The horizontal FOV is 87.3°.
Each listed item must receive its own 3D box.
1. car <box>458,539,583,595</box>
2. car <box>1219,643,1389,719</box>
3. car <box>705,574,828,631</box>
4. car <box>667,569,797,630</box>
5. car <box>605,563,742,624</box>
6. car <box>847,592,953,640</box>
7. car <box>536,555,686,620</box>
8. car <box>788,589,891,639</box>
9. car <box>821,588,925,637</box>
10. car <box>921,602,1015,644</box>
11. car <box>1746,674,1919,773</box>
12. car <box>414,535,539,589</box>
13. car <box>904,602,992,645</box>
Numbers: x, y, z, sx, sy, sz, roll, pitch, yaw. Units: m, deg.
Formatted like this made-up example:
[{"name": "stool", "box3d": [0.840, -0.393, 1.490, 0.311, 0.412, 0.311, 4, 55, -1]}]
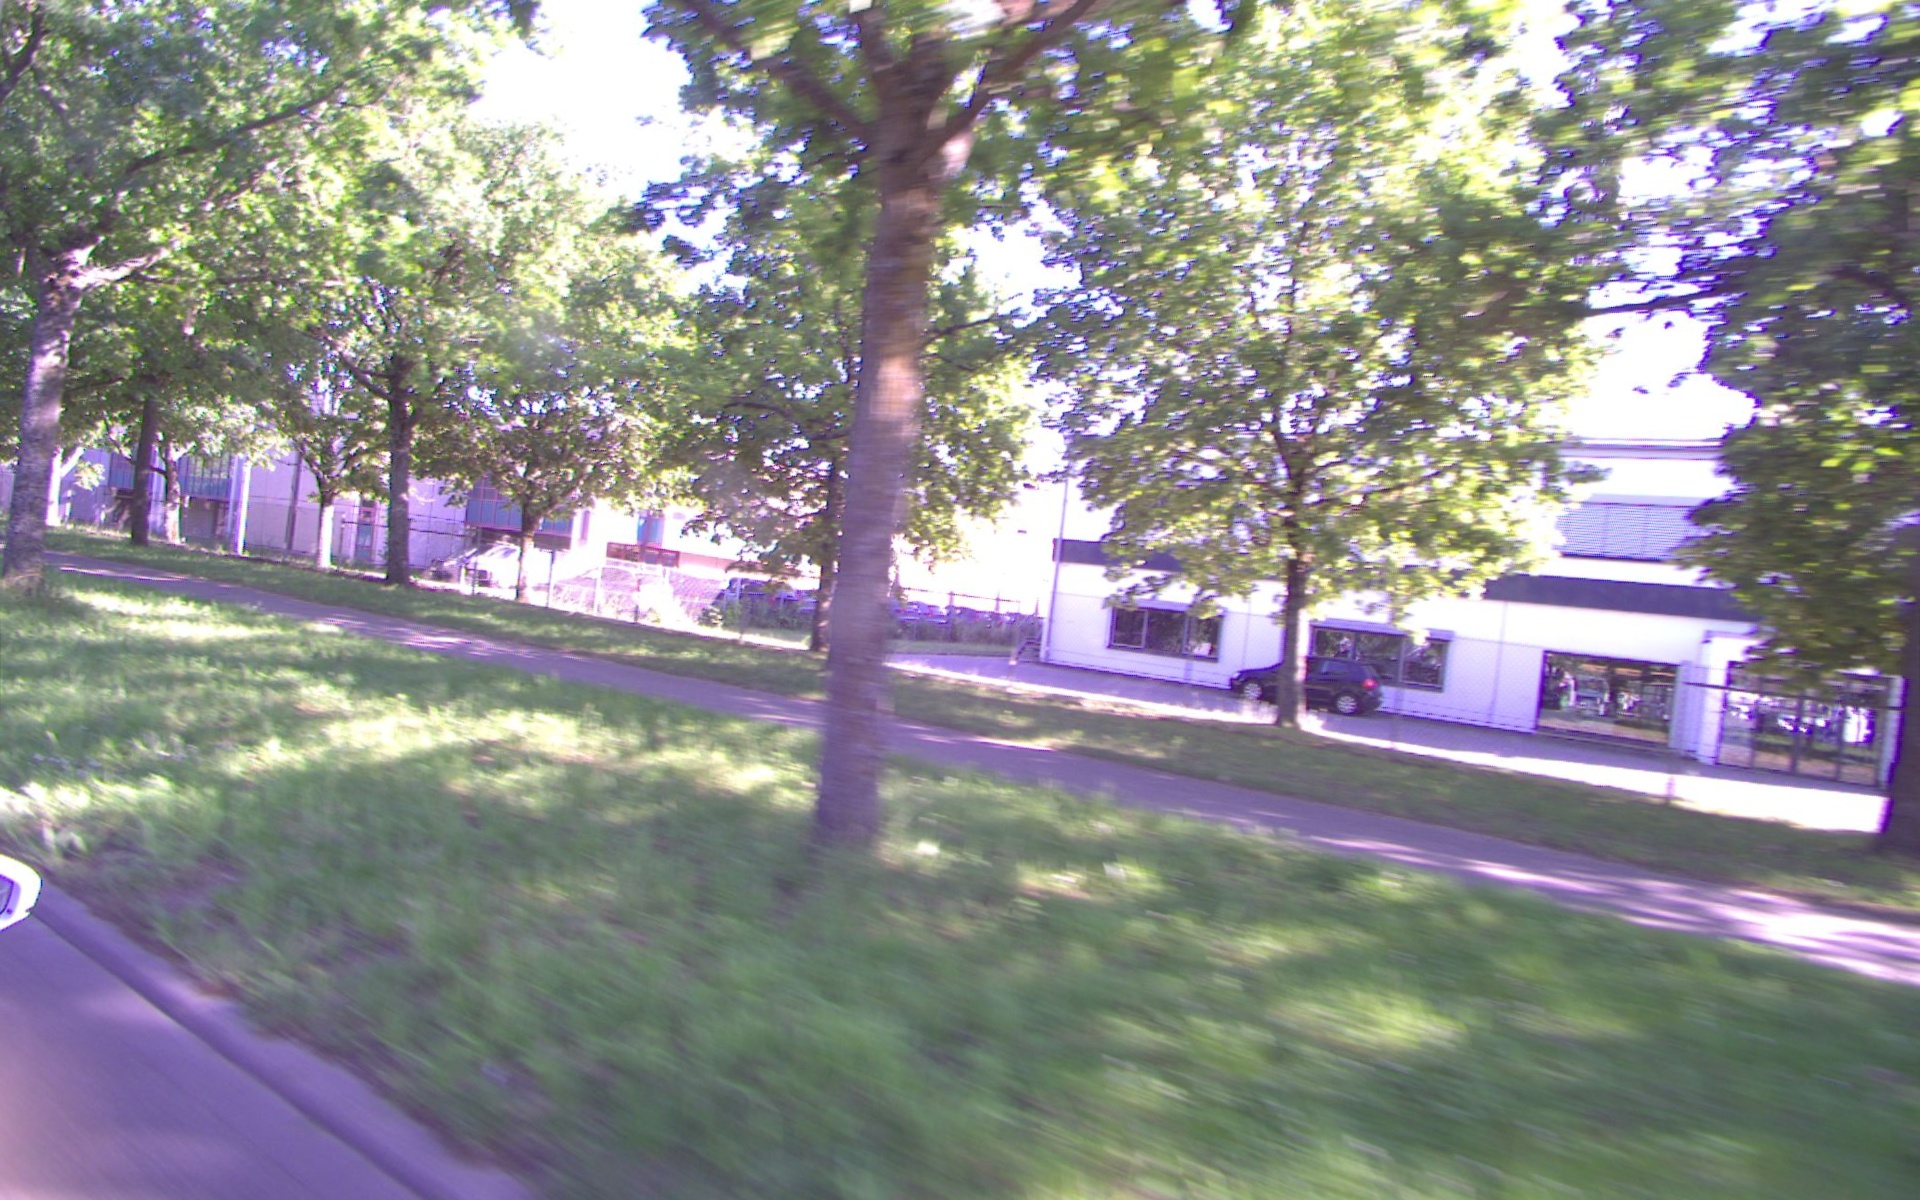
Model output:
[{"name": "car", "box3d": [-19.600, -1.440, 45.149, 1.861, 1.984, 5.074, 7, 0, 25]}, {"name": "car", "box3d": [9.560, 2.244, 28.075, 4.091, 1.523, 1.719, 6, -2, 32]}, {"name": "car", "box3d": [-7.820, 0.098, 40.628, 4.376, 1.692, 2.000, 7, -2, 25]}, {"name": "car", "box3d": [-8.558, -0.019, 37.721, 4.379, 1.694, 1.997, 7, 0, 28]}, {"name": "car", "box3d": [-10.158, -0.231, 35.624, 4.379, 1.578, 1.997, 7, 0, 28]}, {"name": "car", "box3d": [-2.924, 0.758, 48.806, 4.889, 1.692, 1.740, 6, -2, 33]}, {"name": "car", "box3d": [-11.610, -0.418, 33.458, 4.634, 1.626, 1.997, 6, 0, 28]}, {"name": "car", "box3d": [-5.371, 0.597, 44.605, 4.386, 1.675, 1.696, 6, -2, 35]}, {"name": "car", "box3d": [-4.041, 0.568, 46.555, 4.645, 1.692, 1.703, 6, -2, 35]}, {"name": "car", "box3d": [0.411, 1.260, 55.239, 4.878, 1.692, 1.739, 6, -2, 36]}, {"name": "car", "box3d": [30.006, 4.170, 34.666, 4.113, 2.665, 1.996, 7, 0, 31]}, {"name": "car", "box3d": [-22.328, -1.706, 46.689, 1.964, 1.907, 4.960, 7, 0, 25]}, {"name": "car", "box3d": [-0.655, 1.233, 53.000, 4.278, 1.692, 1.739, 6, -2, 36]}]
